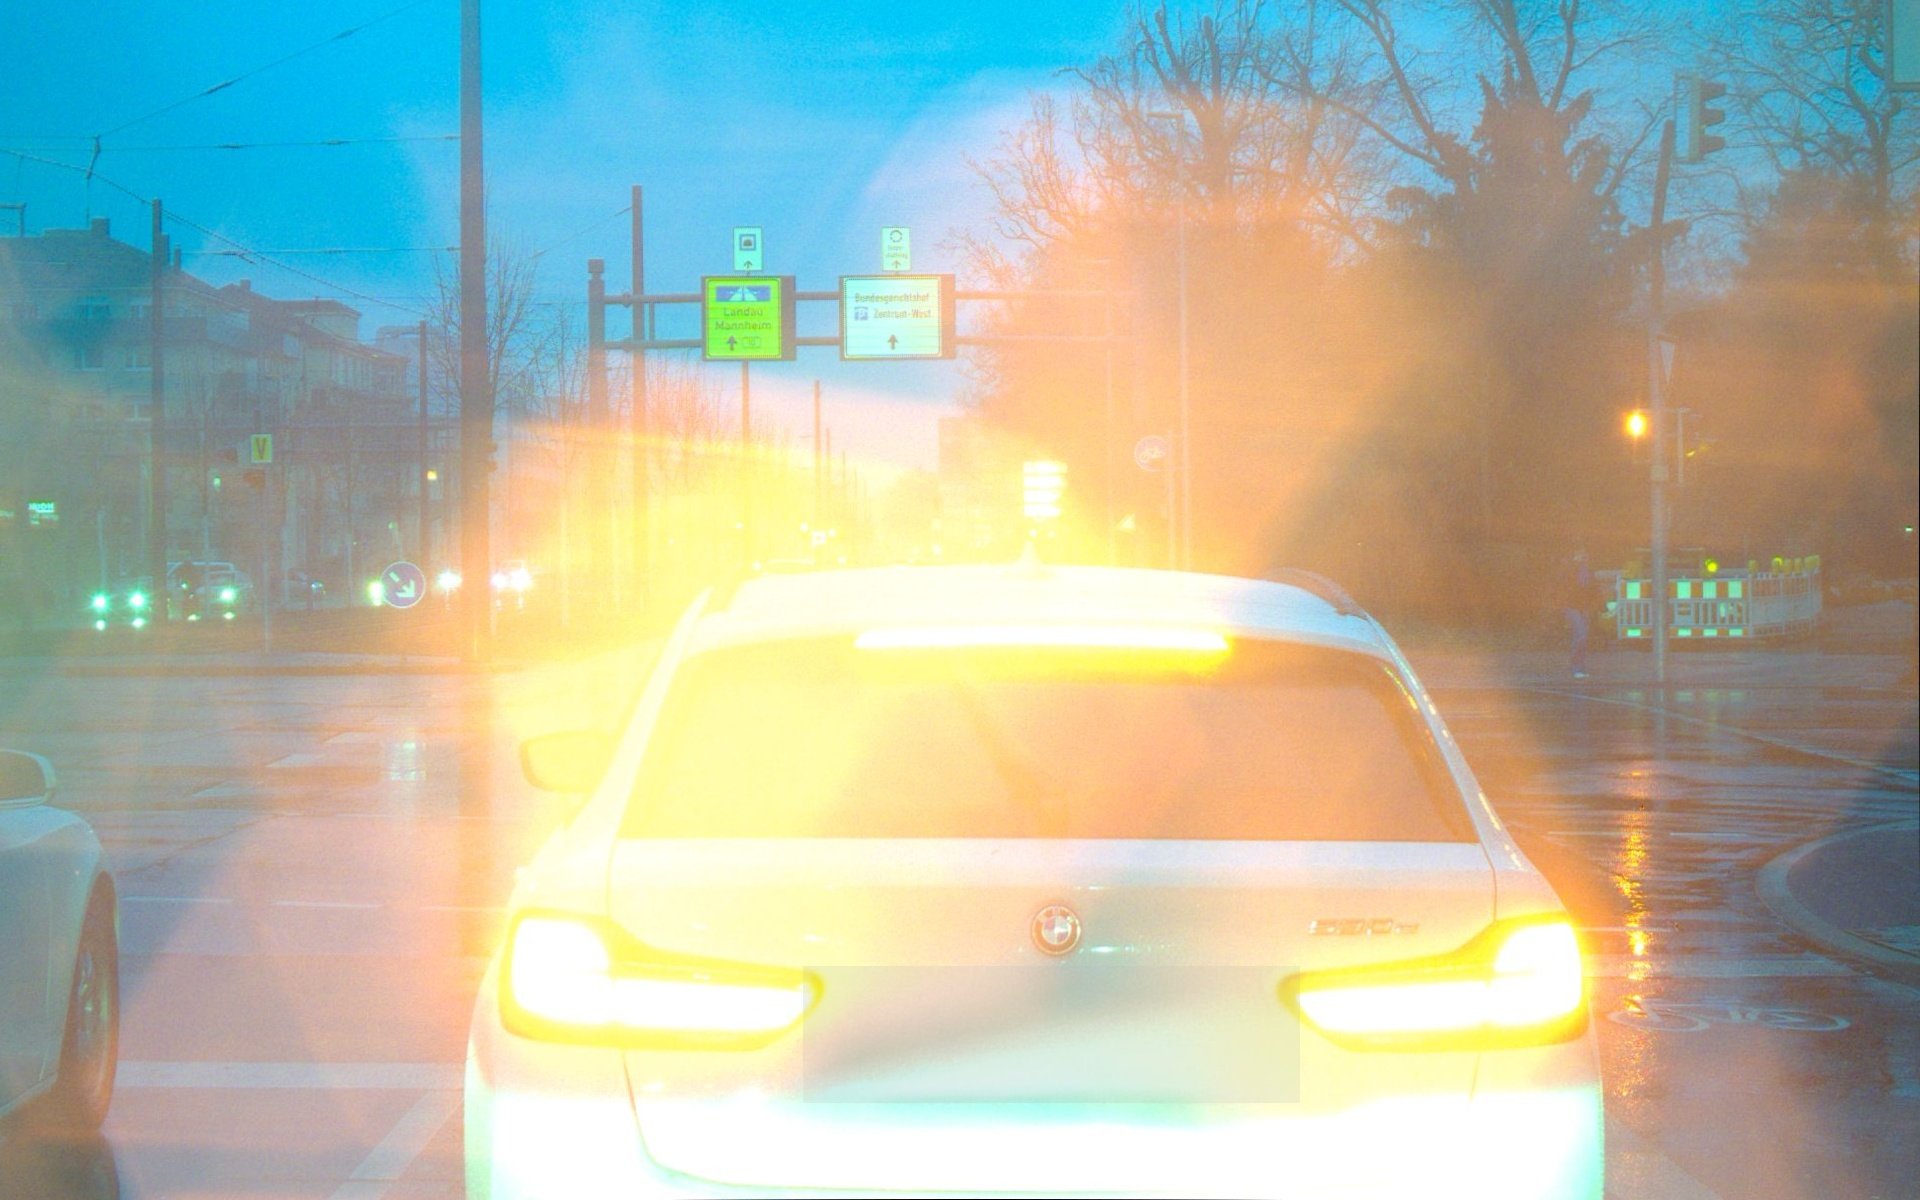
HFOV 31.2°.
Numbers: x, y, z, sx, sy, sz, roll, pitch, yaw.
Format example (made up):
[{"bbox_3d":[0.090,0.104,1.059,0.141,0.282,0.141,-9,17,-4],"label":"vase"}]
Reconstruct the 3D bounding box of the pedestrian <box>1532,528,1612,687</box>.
[{"bbox_3d":[7.292,0.086,40.972,0.712,1.873,0.675,1,0,-10],"label":"pedestrian"}]

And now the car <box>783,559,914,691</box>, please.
[{"bbox_3d":[-1.747,0.365,55.066,1.993,2.007,4.000,1,1,-1],"label":"car"}]

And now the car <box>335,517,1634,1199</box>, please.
[{"bbox_3d":[-0.064,0.652,6.809,1.759,1.547,4.252,1,1,-3],"label":"car"}]

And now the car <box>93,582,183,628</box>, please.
[{"bbox_3d":[-27.653,0.164,115.763,1.993,1.457,5.095,1,1,-2],"label":"car"}]

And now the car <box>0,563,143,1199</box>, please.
[{"bbox_3d":[-2.960,0.650,6.981,1.759,1.464,4.252,1,1,-3],"label":"car"}]

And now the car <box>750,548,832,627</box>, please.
[{"bbox_3d":[-4.469,-0.346,91.393,1.993,2.007,4.000,1,1,-1],"label":"car"}]

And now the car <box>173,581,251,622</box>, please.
[{"bbox_3d":[-27.931,0.036,128.529,1.993,1.457,5.095,1,1,-2],"label":"car"}]

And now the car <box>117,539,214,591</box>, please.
[{"bbox_3d":[-23.129,-1.017,100.244,1.993,1.457,5.096,1,1,-4],"label":"car"}]
